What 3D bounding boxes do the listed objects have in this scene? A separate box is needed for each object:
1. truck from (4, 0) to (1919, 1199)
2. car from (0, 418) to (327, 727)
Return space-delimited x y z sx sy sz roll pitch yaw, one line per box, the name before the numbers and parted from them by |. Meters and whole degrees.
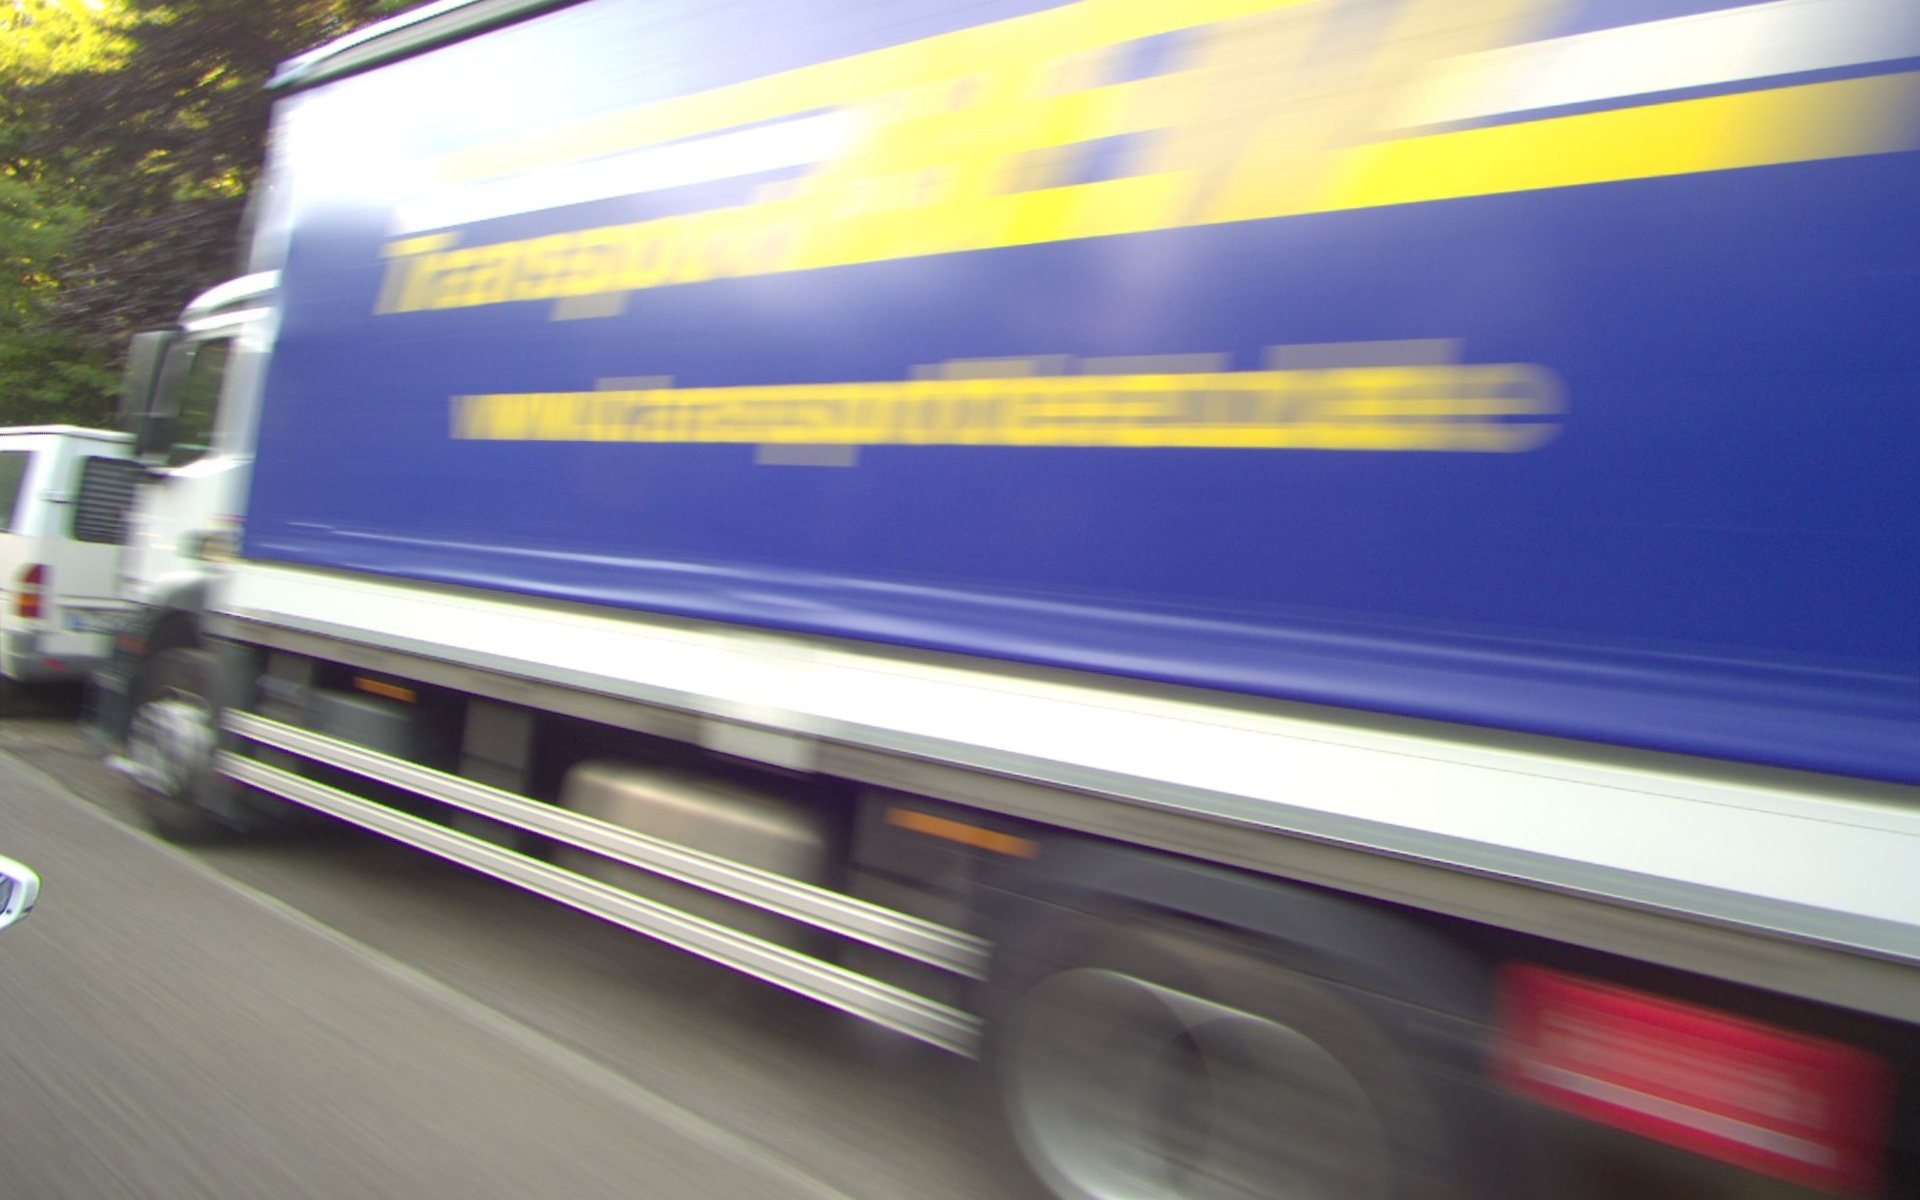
truck | -0.727 -0.512 4.614 9.561 4.075 2.662 6 -1 32
car | -8.339 -0.317 9.399 4.847 2.213 1.998 6 -3 33
